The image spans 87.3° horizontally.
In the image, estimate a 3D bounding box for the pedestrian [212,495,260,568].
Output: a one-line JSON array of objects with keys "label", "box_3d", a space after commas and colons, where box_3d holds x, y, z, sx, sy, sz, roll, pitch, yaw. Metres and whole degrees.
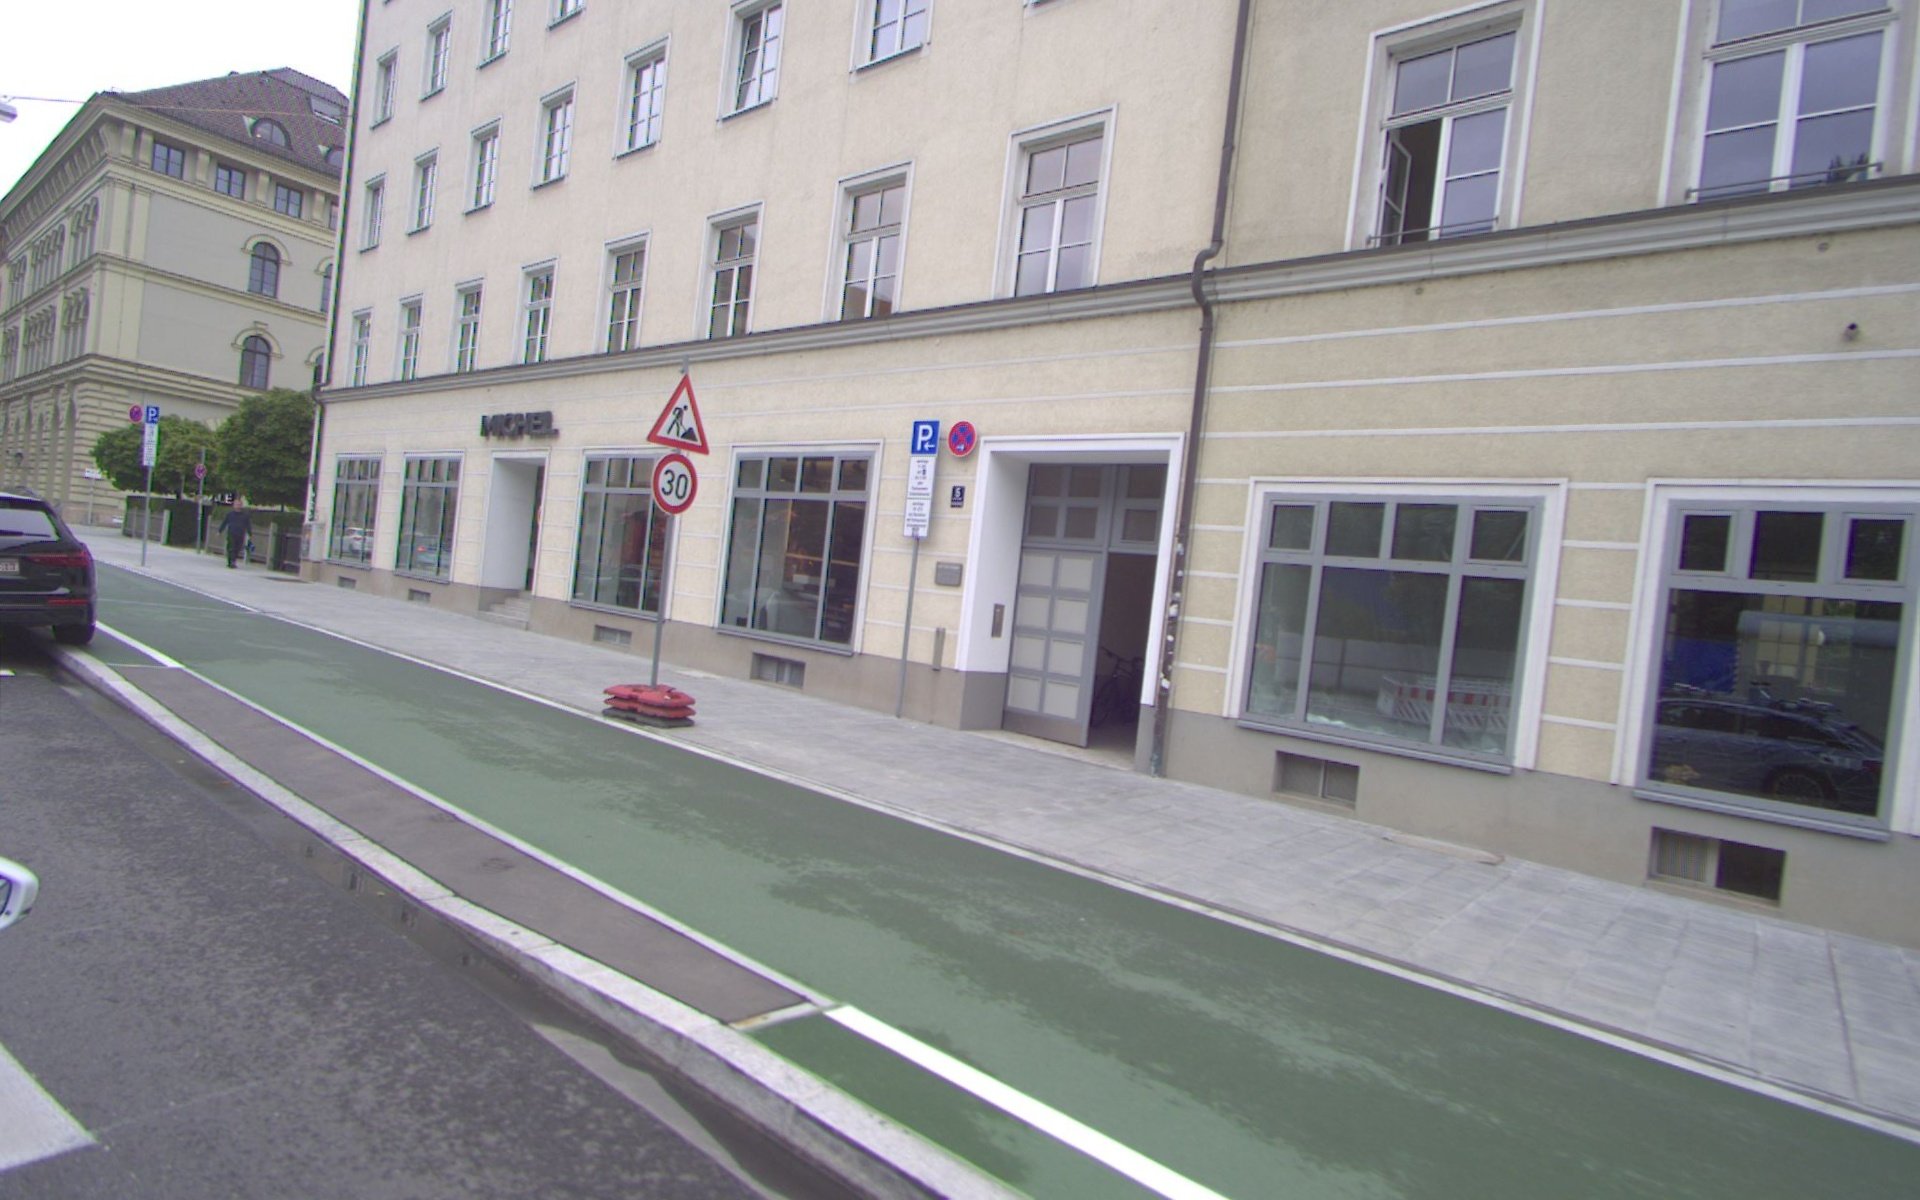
[{"label": "pedestrian", "box_3d": [-19.727, -1.872, 27.406, 0.766, 1.859, 0.789, 8, 2, 41]}]

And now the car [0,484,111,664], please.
[{"label": "car", "box_3d": [-10.013, -0.457, 9.771, 4.618, 1.498, 1.800, 7, 1, 39]}]
